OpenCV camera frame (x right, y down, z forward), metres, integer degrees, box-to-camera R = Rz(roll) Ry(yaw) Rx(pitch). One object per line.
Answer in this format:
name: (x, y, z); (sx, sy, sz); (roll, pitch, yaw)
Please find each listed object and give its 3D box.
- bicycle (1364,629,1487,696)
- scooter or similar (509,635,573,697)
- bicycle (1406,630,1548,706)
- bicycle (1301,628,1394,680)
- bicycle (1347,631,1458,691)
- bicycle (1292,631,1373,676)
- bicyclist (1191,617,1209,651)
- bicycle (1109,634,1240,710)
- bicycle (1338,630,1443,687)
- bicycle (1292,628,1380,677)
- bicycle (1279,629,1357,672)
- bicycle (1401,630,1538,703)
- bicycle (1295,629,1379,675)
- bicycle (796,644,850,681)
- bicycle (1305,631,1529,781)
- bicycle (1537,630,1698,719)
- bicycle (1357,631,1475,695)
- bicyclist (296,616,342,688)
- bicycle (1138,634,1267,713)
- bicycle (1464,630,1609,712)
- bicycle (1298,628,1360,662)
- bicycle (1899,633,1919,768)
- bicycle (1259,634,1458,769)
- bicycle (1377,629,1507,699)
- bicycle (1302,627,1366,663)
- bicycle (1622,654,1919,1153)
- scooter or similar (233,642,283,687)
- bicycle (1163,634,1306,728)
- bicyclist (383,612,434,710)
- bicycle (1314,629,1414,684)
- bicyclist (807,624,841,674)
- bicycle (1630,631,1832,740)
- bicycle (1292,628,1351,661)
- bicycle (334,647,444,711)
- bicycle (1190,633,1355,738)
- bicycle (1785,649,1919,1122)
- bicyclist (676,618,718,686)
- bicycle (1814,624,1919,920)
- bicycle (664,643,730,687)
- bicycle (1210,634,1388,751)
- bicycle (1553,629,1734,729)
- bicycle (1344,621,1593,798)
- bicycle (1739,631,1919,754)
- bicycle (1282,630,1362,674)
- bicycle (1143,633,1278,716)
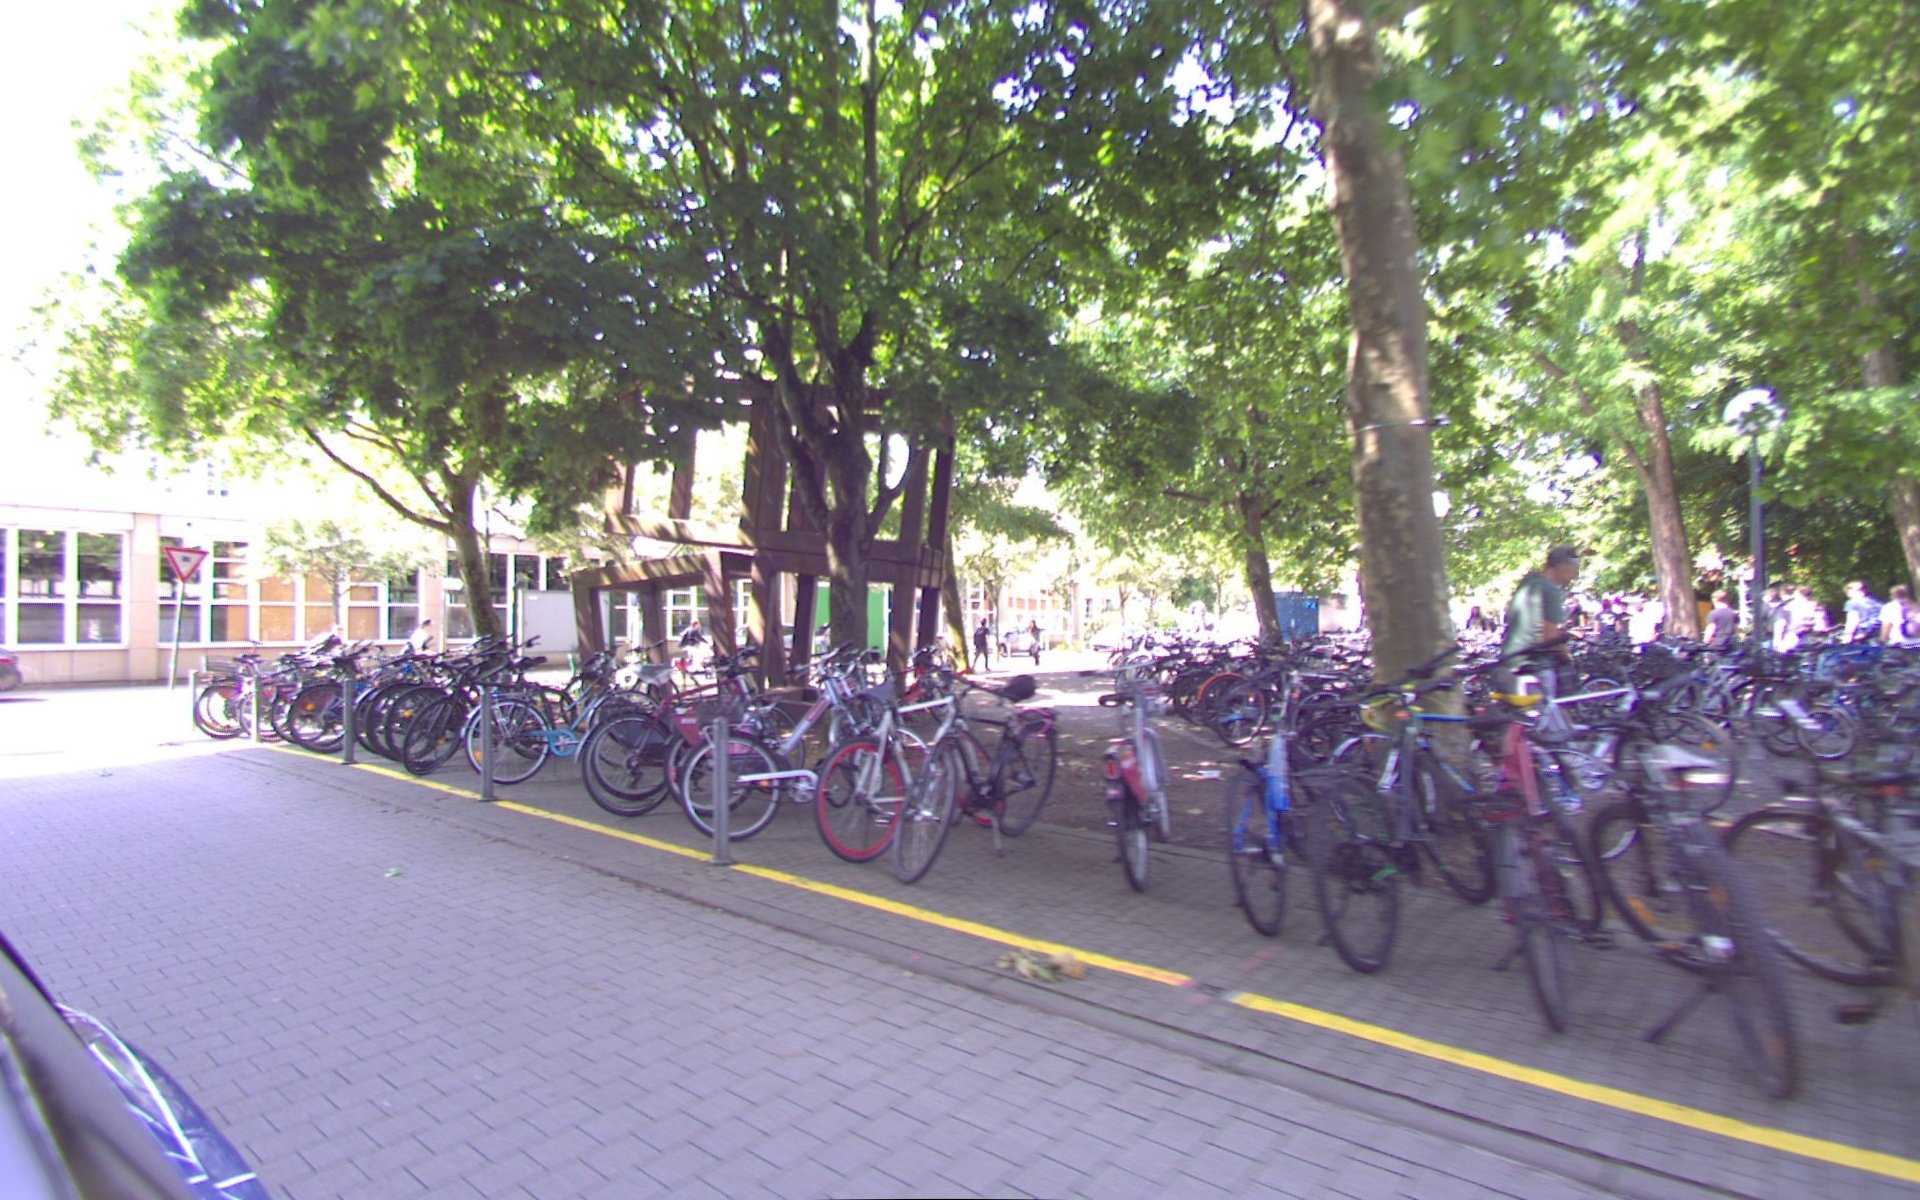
bicycle: (7.962, 1.066, 17.347); (1.834, 1.092, 0.473); (-1, -1, 4)
scooter or similar: (-8.425, 1.313, 20.360); (1.165, 1.204, 0.293); (0, -2, -14)
bicycle: (7.760, 1.013, 15.224); (1.834, 1.092, 0.473); (-1, -1, 4)
bicycle: (8.494, 1.176, 22.218); (1.834, 1.092, 0.473); (-1, -1, 4)
bicycle: (8.256, 1.133, 18.912); (1.834, 1.092, 0.473); (-1, -1, 4)
bicycle: (9.346, 1.332, 25.408); (1.834, 1.092, 0.473); (-1, -1, 4)
bicyclist: (13.123, 1.852, 55.346); (0.604, 1.815, 0.887); (-3, -3, 38)
bicycle: (3.275, 1.098, 15.533); (1.882, 1.116, 0.502); (-1, -1, 4)
bicycle: (8.445, 1.145, 19.887); (1.834, 1.092, 0.473); (-1, -1, 4)
bicycle: (8.718, 1.206, 23.503); (1.834, 1.092, 0.473); (-1, -1, 4)
bicycle: (9.380, 1.330, 26.565); (1.834, 1.092, 0.473); (-1, -1, 4)
bicycle: (7.924, 1.023, 15.772); (1.834, 1.092, 0.473); (-1, -1, 4)
bicycle: (9.207, 1.275, 24.763); (1.834, 1.092, 0.473); (-1, -1, 4)
bicycle: (-4.418, 2.017, 32.745); (0.639, 1.116, 1.797); (0, -1, 37)
bicycle: (3.706, 0.827, 8.227); (1.671, 1.116, 0.504); (-1, -1, -13)
bicycle: (8.344, 0.941, 12.878); (1.677, 1.092, 0.473); (-1, -1, 4)
bicycle: (8.033, 1.108, 17.871); (1.834, 1.092, 0.473); (-1, -1, 4)
bicyclist: (-14.210, 1.134, 22.439); (0.605, 1.546, 0.717); (0, -1, 43)
bicycle: (3.561, 1.084, 14.943); (1.756, 1.116, 0.502); (-1, -1, 4)
bicycle: (7.963, 0.975, 14.007); (1.677, 1.092, 0.473); (-1, -1, 4)
bicycle: (12.204, 1.502, 33.525); (1.838, 1.092, 0.473); (-1, -1, 10)
bicycle: (8.636, 0.806, 8.200); (1.674, 1.092, 0.474); (-1, -1, -4)
bicycle: (3.607, 0.890, 9.173); (1.671, 1.116, 0.504); (-1, -1, -13)
bicycle: (7.833, 1.042, 16.489); (1.834, 1.092, 0.473); (-1, -1, 4)
bicycle: (11.933, 1.439, 32.343); (1.838, 1.092, 0.473); (-1, -1, 10)
bicycle: (2.517, 0.776, 3.289); (0.495, 1.116, 1.682); (-1, -1, 30)
scooter or similar: (-20.195, 1.846, 29.121); (0.289, 1.235, 1.142); (-3, -3, 44)
bicycle: (3.476, 1.012, 12.836); (1.672, 1.116, 0.504); (-1, -1, -9)
bicyclist: (-11.015, 1.188, 20.221); (0.853, 1.906, 0.808); (1, -1, -28)
bicycle: (8.372, 1.169, 21.013); (1.834, 1.092, 0.473); (-1, -1, 4)
bicyclist: (-4.404, 1.560, 32.755); (0.639, 1.585, 0.864); (0, -1, 37)
bicycle: (8.060, 0.884, 10.617); (1.677, 1.092, 0.473); (-1, -1, 4)
bicycle: (12.365, 1.513, 34.649); (1.848, 1.092, 0.470); (-1, -1, 25)
bicycle: (-11.297, 1.546, 20.083); (1.854, 1.181, 0.808); (1, -1, -28)
bicycle: (3.571, 0.960, 11.620); (1.672, 1.116, 0.632); (-1, -1, -9)
bicycle: (2.901, 0.755, 2.931); (0.472, 1.154, 1.683); (-1, -1, 29)
bicyclist: (-7.674, 1.505, 29.570); (0.673, 1.902, 0.958); (0, 0, 35)
bicycle: (4.717, 0.751, 4.946); (0.501, 1.229, 1.682); (-1, -1, 29)
bicycle: (-7.667, 1.887, 29.574); (0.673, 1.149, 1.864); (0, 0, 36)
bicycle: (3.494, 0.935, 10.467); (1.672, 1.116, 0.504); (-1, -1, -9)
bicycle: (7.803, 0.895, 11.592); (1.677, 1.092, 0.473); (-1, -1, 4)
bicycle: (3.814, 0.783, 7.615); (1.671, 1.209, 0.577); (-1, -1, -13)
bicycle: (8.308, 0.851, 9.421); (1.677, 1.092, 0.473); (-1, -1, 4)
bicycle: (9.273, 1.328, 25.969); (1.834, 1.092, 0.473); (-1, -1, 4)
bicycle: (3.502, 1.038, 14.223); (1.756, 1.116, 0.502); (-1, -1, 4)
